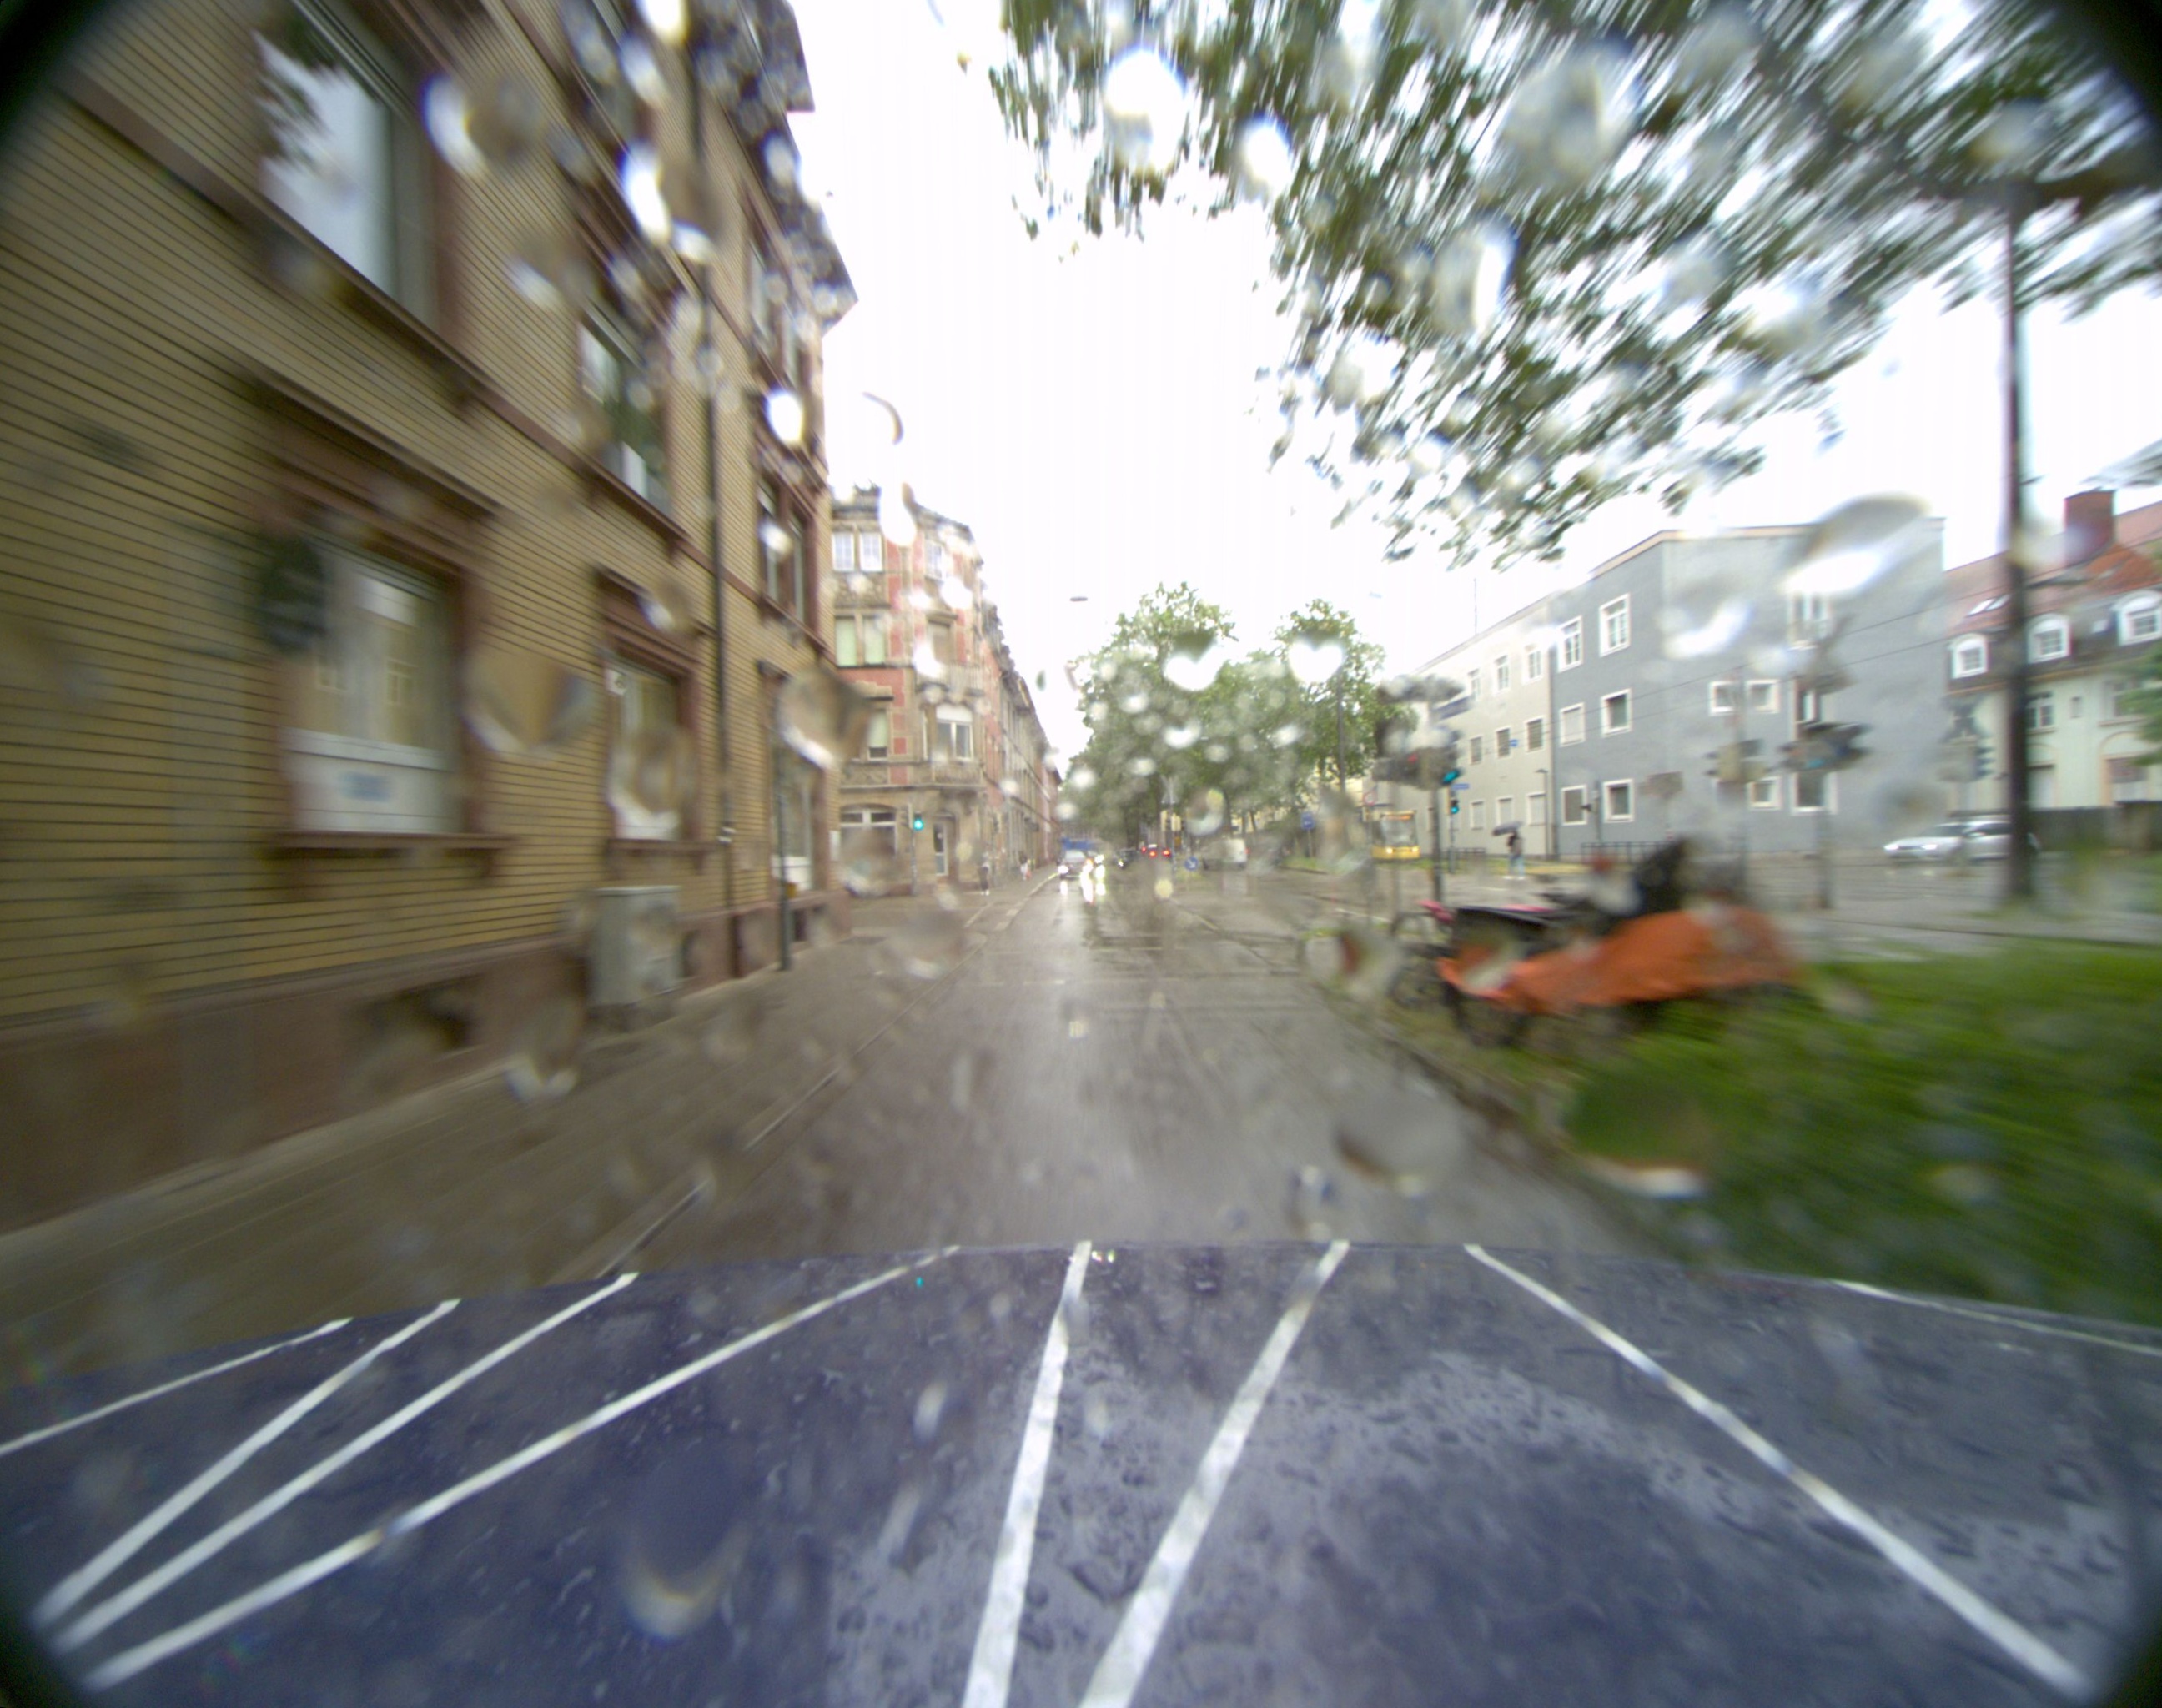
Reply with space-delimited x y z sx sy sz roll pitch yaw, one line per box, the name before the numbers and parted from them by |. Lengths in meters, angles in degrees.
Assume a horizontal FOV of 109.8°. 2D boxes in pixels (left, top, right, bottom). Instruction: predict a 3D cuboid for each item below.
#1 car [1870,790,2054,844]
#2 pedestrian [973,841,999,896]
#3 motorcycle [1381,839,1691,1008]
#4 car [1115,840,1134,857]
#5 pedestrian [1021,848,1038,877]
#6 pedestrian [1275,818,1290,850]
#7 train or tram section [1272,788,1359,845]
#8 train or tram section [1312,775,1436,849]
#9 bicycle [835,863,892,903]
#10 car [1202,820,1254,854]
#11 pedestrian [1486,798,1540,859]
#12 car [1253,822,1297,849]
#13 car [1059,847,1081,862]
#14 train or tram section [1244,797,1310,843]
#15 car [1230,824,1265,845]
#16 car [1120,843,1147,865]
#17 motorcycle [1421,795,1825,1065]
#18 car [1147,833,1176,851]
car | 29.364 -1.209 25.413 4.088 1.519 1.887 -3 1 -2
pedestrian | -3.363 0.482 26.842 0.787 1.903 0.929 1 2 0
motorcycle | 3.894 0.541 6.654 0.870 1.202 2.136 -6 3 -45
car | 4.418 -0.578 76.942 1.663 1.567 3.423 -3 1 7
pedestrian | -2.797 0.461 41.166 0.849 1.565 0.576 2 2 1
pedestrian | 11.919 -1.170 44.932 0.663 1.845 0.635 -3 2 1
train or tram section | 17.185 -2.646 56.754 2.907 3.622 11.549 -4 2 1
train or tram section | 16.974 -2.328 45.224 2.907 3.622 11.549 -4 2 1
bicycle | -7.407 0.971 25.970 1.691 1.215 0.678 -4 2 -6
car | 8.748 -0.987 45.535 1.938 1.839 4.064 -3 1 -5
pedestrian | 13.349 -0.792 23.530 0.938 1.790 1.205 -3 2 0
car | 12.450 -1.188 48.909 1.676 1.500 3.973 -7 1 0
car | -1.098 0.051 79.081 1.976 1.359 4.161 2 1 3
train or tram section | 17.378 -2.963 68.284 2.907 3.622 11.549 -4 2 1
car | 12.496 -1.440 57.167 1.676 1.377 3.704 -7 1 0
car | 3.967 -0.039 58.119 1.732 1.474 4.005 -3 1 1
motorcycle | 3.593 0.435 5.201 2.104 1.492 0.773 -2 3 44
car | 7.940 -1.144 75.443 2.062 1.609 4.671 -3 1 -4
